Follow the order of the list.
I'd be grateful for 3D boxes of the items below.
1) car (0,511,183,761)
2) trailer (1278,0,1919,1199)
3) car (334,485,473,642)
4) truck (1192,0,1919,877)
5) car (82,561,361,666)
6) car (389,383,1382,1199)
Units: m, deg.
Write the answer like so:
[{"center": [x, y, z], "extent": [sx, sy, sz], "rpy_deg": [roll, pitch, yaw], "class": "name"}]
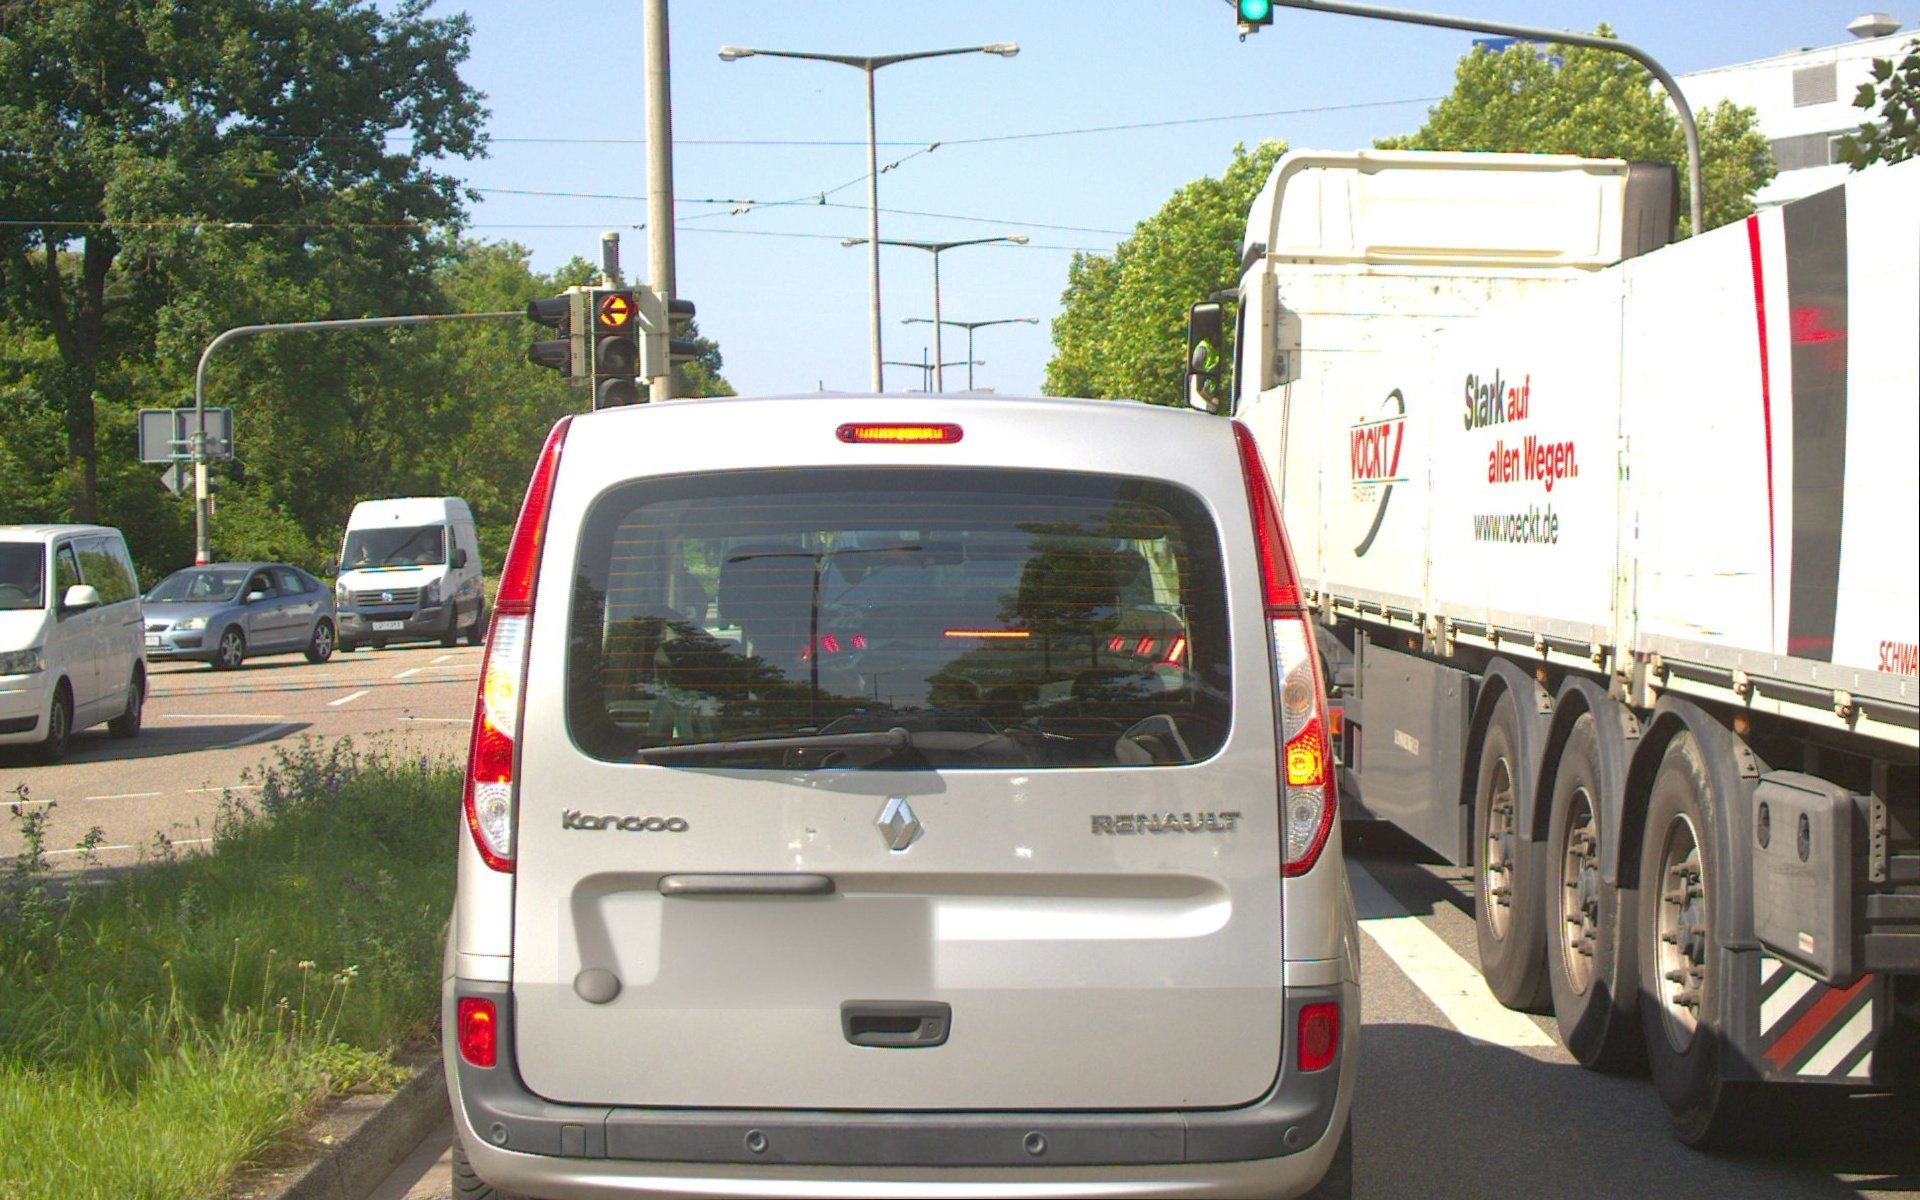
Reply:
[{"center": [-8.049, 0.286, 28.593], "extent": [1.993, 1.884, 4.988], "rpy_deg": [-3, 1, -1], "class": "car"}, {"center": [3.068, -0.603, 11.198], "extent": [3.016, 3.728, 12.240], "rpy_deg": [0, 1, 0], "class": "trailer"}, {"center": [-9.622, -0.641, 59.828], "extent": [2.058, 2.605, 5.871], "rpy_deg": [0, 1, -6], "class": "car"}, {"center": [3.077, -0.734, 18.438], "extent": [3.071, 3.745, 7.476], "rpy_deg": [0, 1, -1], "class": "truck"}, {"center": [-10.320, 0.158, 48.347], "extent": [1.913, 1.404, 4.223], "rpy_deg": [0, 1, 20], "class": "car"}, {"center": [-0.139, 0.477, 8.039], "extent": [1.749, 1.766, 3.949], "rpy_deg": [0, 1, 0], "class": "car"}]
